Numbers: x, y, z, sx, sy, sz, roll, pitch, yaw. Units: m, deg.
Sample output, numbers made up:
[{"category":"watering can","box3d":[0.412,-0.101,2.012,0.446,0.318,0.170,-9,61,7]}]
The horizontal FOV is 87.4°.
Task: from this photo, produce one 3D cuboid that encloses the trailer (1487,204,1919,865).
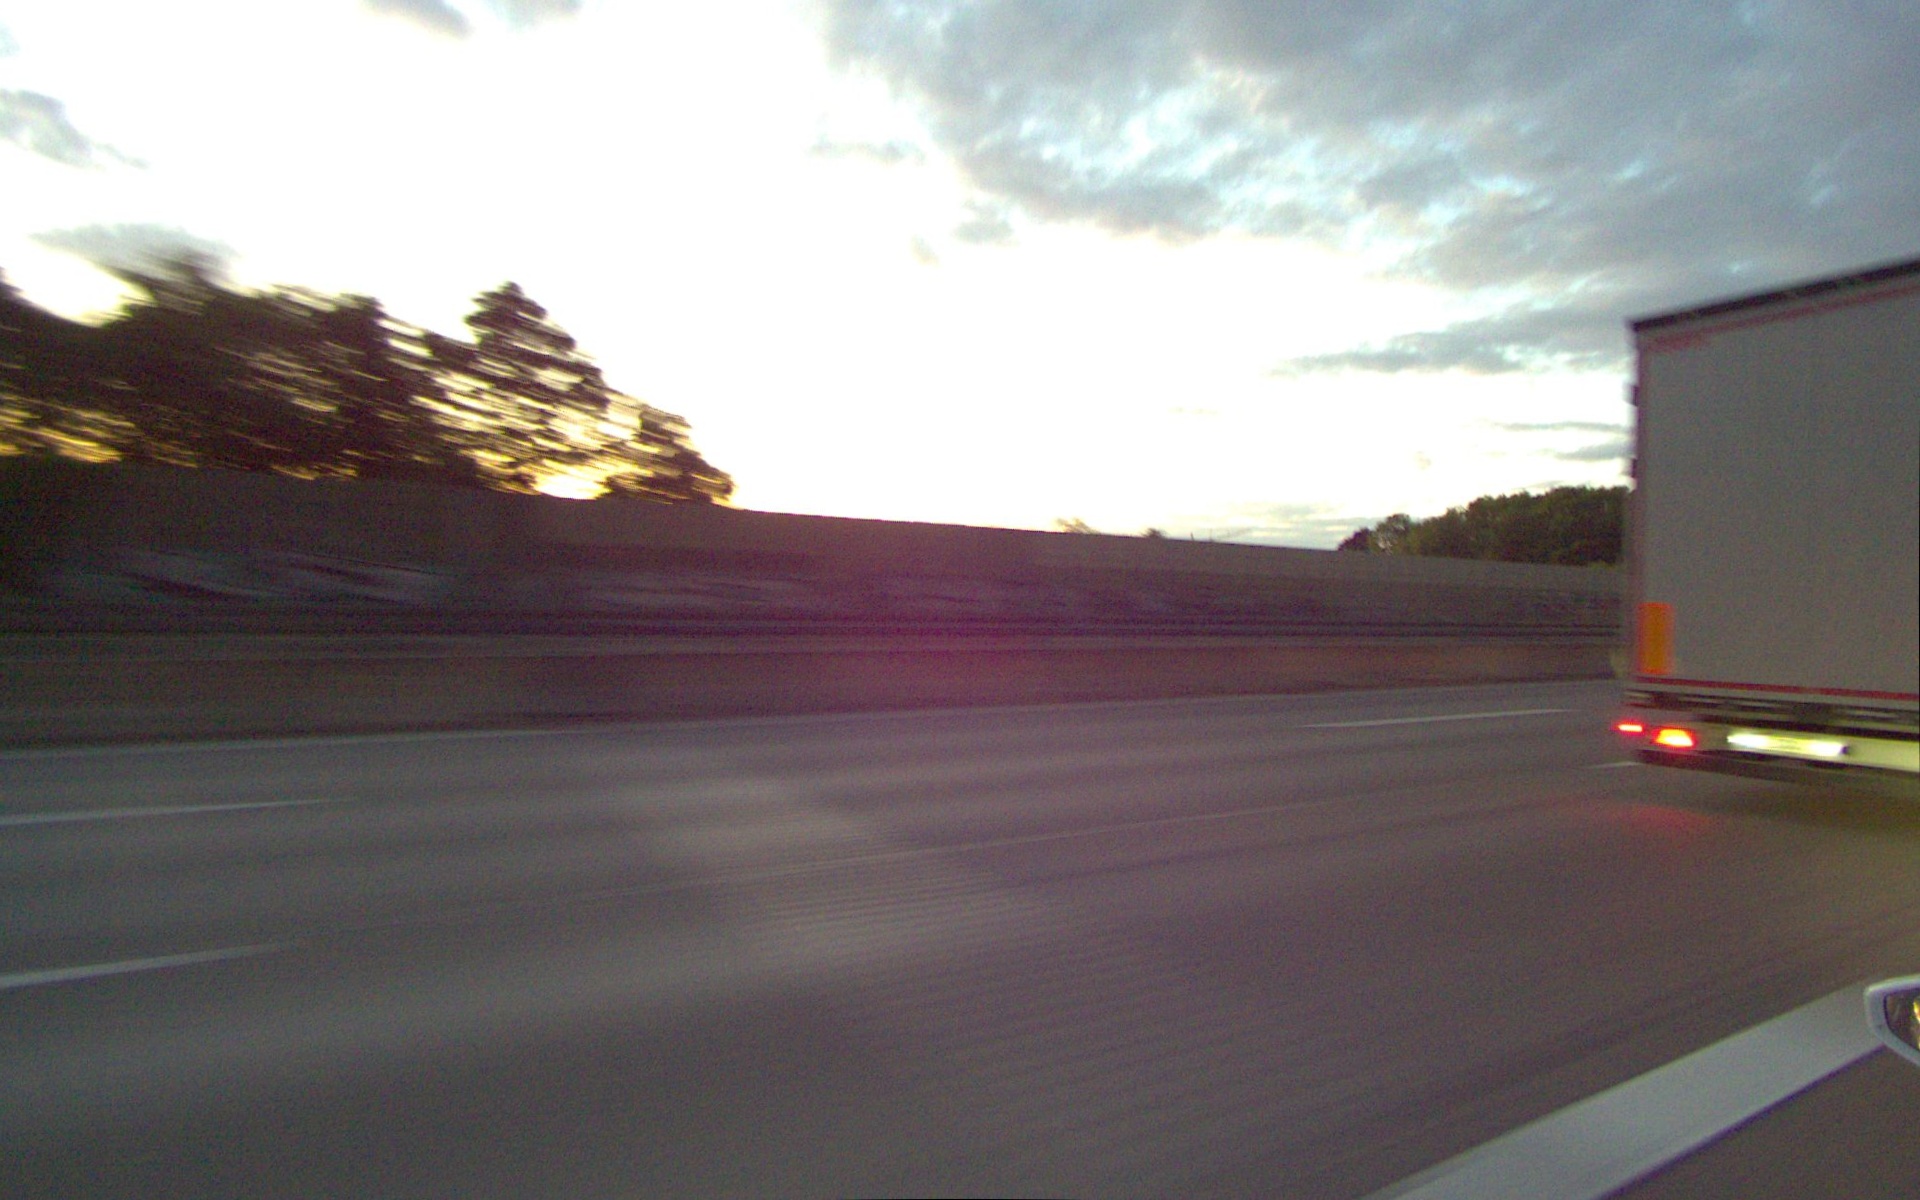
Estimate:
[{"category":"trailer","box3d":[11.790,-0.205,11.207,14.898,4.171,3.531,2,-1,-32]}]
